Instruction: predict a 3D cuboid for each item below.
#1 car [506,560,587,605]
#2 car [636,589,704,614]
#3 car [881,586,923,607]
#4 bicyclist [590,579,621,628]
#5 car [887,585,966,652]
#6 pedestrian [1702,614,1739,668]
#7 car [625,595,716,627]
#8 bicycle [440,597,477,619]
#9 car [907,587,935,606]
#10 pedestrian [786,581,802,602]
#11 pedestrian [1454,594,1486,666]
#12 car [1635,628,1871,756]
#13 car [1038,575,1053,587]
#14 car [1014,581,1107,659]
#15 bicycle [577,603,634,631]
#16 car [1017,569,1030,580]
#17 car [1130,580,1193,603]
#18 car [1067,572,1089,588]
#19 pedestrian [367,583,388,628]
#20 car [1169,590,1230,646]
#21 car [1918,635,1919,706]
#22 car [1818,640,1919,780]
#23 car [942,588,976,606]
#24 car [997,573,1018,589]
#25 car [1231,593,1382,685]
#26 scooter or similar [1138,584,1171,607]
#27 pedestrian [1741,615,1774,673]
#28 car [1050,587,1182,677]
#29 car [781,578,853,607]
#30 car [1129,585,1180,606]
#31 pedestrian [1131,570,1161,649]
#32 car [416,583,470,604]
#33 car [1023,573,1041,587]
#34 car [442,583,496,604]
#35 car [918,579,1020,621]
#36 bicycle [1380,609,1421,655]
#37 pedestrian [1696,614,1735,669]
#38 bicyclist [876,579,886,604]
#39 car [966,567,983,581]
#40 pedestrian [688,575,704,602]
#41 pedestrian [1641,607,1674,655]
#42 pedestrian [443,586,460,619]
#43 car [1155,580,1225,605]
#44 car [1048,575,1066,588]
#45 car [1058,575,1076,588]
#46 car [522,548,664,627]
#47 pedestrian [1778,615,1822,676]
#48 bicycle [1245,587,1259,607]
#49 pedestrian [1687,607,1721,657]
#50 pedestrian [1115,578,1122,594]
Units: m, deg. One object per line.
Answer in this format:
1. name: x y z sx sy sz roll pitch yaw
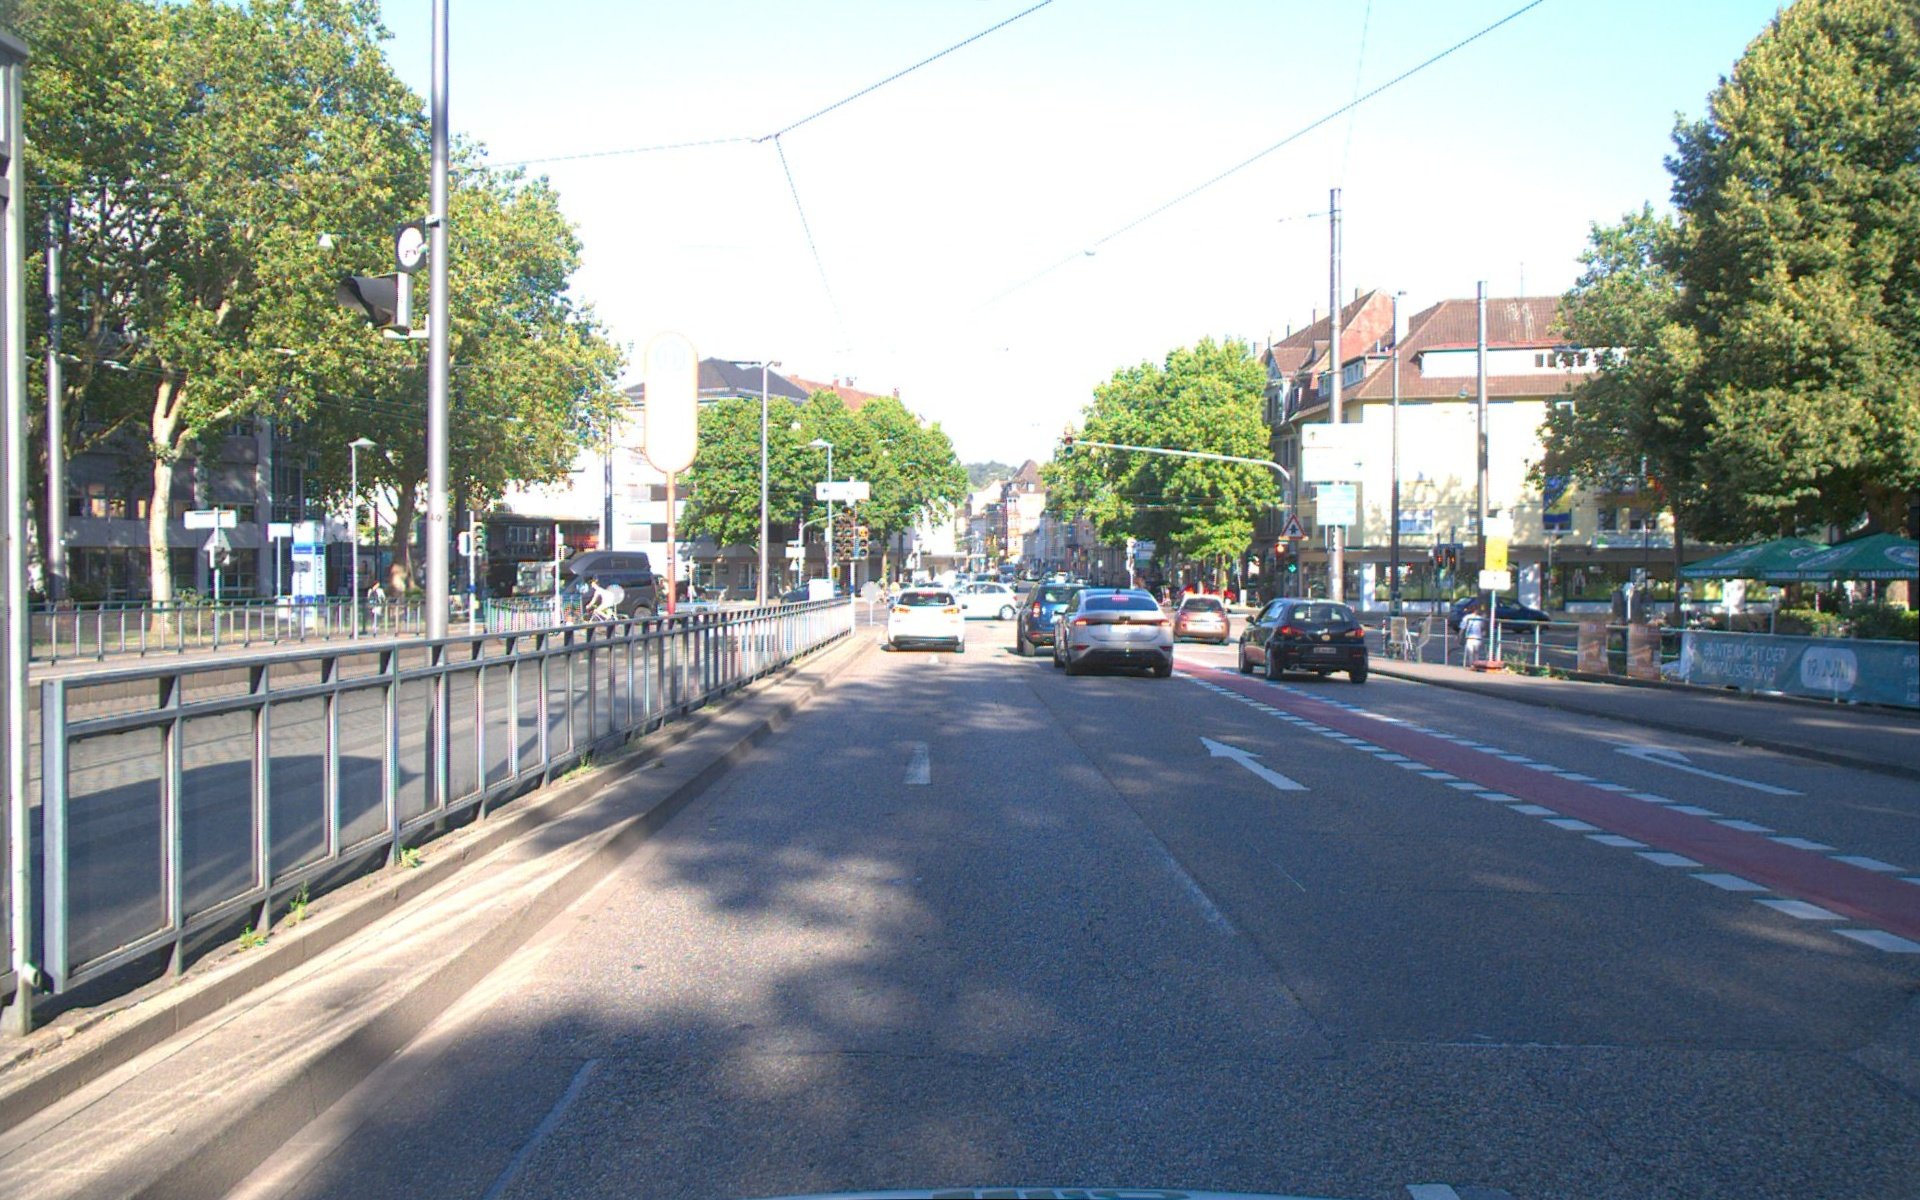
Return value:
1. car: -30.219 -1.271 121.184 2.445 3.220 6.535 0 1 22
2. car: -18.205 0.070 103.852 3.908 1.536 1.798 0 0 26
3. car: -4.378 -0.245 125.851 1.689 1.537 3.874 0 0 24
4. bicyclist: -10.613 0.101 49.493 0.783 1.438 0.527 0 0 2
5. car: -0.800 0.400 39.187 1.771 1.478 3.999 1 0 -1
6. pedestrian: 19.896 1.076 43.284 0.635 1.361 0.632 3 0 -1
7. car: -11.195 0.440 64.093 2.033 1.183 2.900 0 -1 37
8. bicycle: -26.019 0.422 85.755 1.757 1.127 0.500 0 0 1
9. car: -3.090 -0.277 131.863 1.756 1.537 4.003 0 0 6
10. pedestrian: -11.897 -0.635 118.699 0.786 1.510 0.862 0 0 25
11. pedestrian: 11.651 0.673 37.765 0.634 1.590 0.632 3 0 18
12. car: 13.370 1.492 28.207 1.758 1.931 4.357 1 0 -3
13. car: 11.159 -2.417 215.763 1.758 1.549 3.999 0 1 -1
14. car: 2.219 0.404 37.350 1.764 1.666 4.044 0 1 -1
15. bicycle: -10.615 0.505 49.495 1.578 0.830 0.527 0 0 2
16. car: 9.472 -3.812 246.219 1.758 1.536 3.999 0 1 -1
17. car: 13.608 -0.563 111.867 3.911 1.536 1.797 0 0 -7
18. car: 13.070 -2.216 183.868 2.062 1.807 4.340 0 1 -1
19. pedestrian: -20.864 0.190 59.215 0.524 1.579 0.677 0 0 -1
20. car: 7.324 0.518 50.739 1.756 1.536 4.004 1 1 8
21. car: 20.439 1.300 32.236 3.960 1.371 1.755 -2 2 -38
22. car: 13.773 1.520 22.359 1.760 1.834 4.204 1 0 -8
23. car: -0.090 -0.241 139.972 1.756 1.537 4.002 0 0 18
24. car: 4.651 -1.821 162.096 1.758 1.536 3.999 0 1 -2
25. car: 6.089 0.638 29.538 1.763 1.464 4.044 1 1 -1
26. scooter or similar: 11.220 -0.286 95.587 1.915 1.303 0.550 0 0 41
27. pedestrian: 19.268 1.049 39.950 0.636 1.361 0.631 3 0 29
28. car: 2.756 0.519 30.222 1.890 1.498 4.854 0 1 -1
29. car: -8.020 -0.434 92.438 3.925 1.536 1.791 1 0 40
30. car: 14.814 -0.359 126.099 3.968 1.536 1.772 -1 1 -43
31. pedestrian: 4.537 0.234 40.426 0.643 1.903 0.677 0 0 -1
32. car: -39.302 -0.523 125.867 1.758 1.536 3.999 0 1 23
33. car: 10.485 -2.910 240.771 2.280 2.049 4.975 0 1 -1
34. car: -36.924 -0.493 124.540 1.758 1.536 3.999 0 1 23
35. car: 0.364 -0.015 70.864 4.074 1.722 1.816 1 0 -12
36. bicycle: 10.800 0.782 40.554 0.488 1.093 1.800 1 0 -1
37. pedestrian: 19.338 1.061 42.349 0.635 1.361 0.632 3 0 -1
38. bicyclist: -5.826 -0.628 121.455 0.458 1.775 0.717 0 0 22
39. car: 1.624 -2.911 184.956 1.758 1.536 3.999 0 1 -2
40. pedestrian: -18.008 -0.786 112.738 0.820 1.802 0.782 0 0 25
41. pedestrian: 20.307 0.893 48.149 0.635 1.361 0.632 3 0 -1
42. pedestrian: -26.241 0.145 85.353 0.634 1.690 0.650 0 0 2
43. car: 14.102 -0.463 101.494 3.914 1.536 1.796 0 0 -10
44. car: 11.525 -2.219 196.531 1.758 1.536 3.999 0 1 -1
45. car: 12.284 -2.142 190.383 1.758 1.536 3.999 0 1 -1
46. car: -13.442 -0.408 60.858 2.033 2.791 5.010 0 -1 37
47. pedestrian: 19.429 1.040 38.256 0.635 1.361 0.632 3 0 -1
48. bicycle: 16.868 -0.189 95.481 0.596 1.127 1.801 0 0 4
49. pedestrian: 21.227 0.905 47.197 0.635 1.361 0.632 3 0 -1
50. pedestrian: 16.816 -1.472 175.151 0.634 1.680 0.651 1 -1 10
